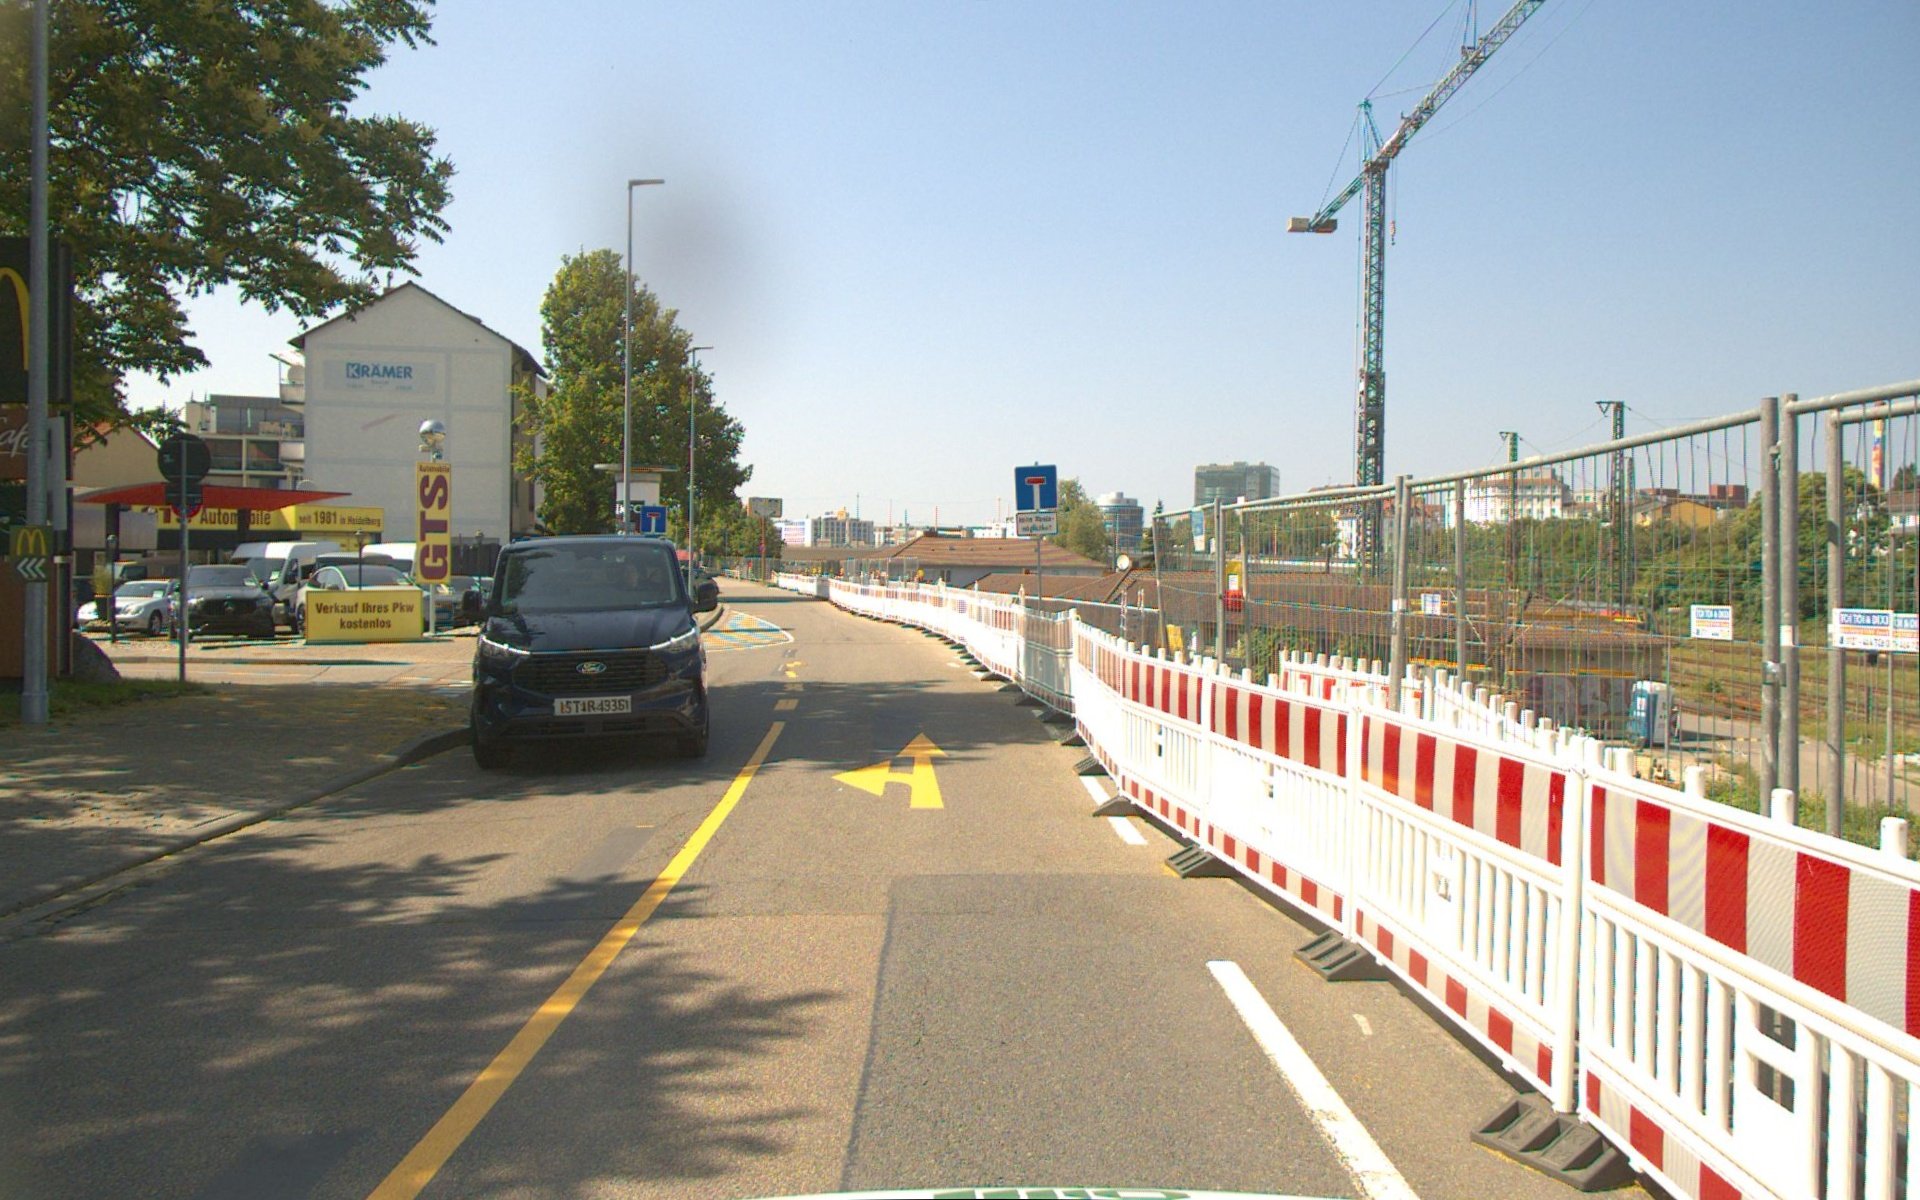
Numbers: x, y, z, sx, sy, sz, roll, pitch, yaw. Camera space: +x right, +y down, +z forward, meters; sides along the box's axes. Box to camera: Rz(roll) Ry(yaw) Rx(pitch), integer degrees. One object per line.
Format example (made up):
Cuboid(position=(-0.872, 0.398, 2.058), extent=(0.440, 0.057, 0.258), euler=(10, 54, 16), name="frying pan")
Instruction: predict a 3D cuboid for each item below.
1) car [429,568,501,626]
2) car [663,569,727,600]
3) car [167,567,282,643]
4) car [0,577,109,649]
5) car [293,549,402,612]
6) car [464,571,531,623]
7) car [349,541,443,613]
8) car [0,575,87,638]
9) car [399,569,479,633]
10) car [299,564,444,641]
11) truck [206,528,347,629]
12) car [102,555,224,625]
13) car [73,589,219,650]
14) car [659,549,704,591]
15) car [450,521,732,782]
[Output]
Cuboid(position=(-14.982, -0.116, 49.944), extent=(1.830, 1.657, 3.976), euler=(1, 1, -21), name="car")
Cuboid(position=(-14.952, -0.861, 93.426), extent=(1.696, 1.666, 3.260), euler=(1, 0, 42), name="car")
Cuboid(position=(-16.742, 0.100, 37.545), extent=(2.024, 1.622, 4.381), euler=(1, 0, -29), name="car")
Cuboid(position=(-21.194, 0.271, 37.847), extent=(1.754, 1.536, 3.994), euler=(1, 0, -7), name="car")
Cuboid(position=(-18.550, -0.598, 50.304), extent=(1.841, 1.768, 4.717), euler=(2, 0, -5), name="car")
Cuboid(position=(-15.554, -0.125, 55.511), extent=(1.830, 1.657, 3.976), euler=(1, 1, -21), name="car")
Cuboid(position=(-19.138, -0.777, 56.312), extent=(2.095, 2.324, 4.703), euler=(1, 1, -8), name="car")
Cuboid(position=(-25.391, 0.149, 43.104), extent=(4.302, 1.613, 1.968), euler=(1, 0, -44), name="car")
Cuboid(position=(-14.069, -0.001, 44.542), extent=(1.830, 1.657, 3.976), euler=(1, 1, -21), name="car")
Cuboid(position=(-14.084, 0.045, 39.481), extent=(1.982, 1.756, 3.942), euler=(1, 0, -40), name="car")
Cuboid(position=(-21.590, -0.659, 52.559), extent=(2.224, 2.954, 5.939), euler=(2, 0, -3), name="truck")
Cuboid(position=(-24.773, -0.290, 51.612), extent=(1.955, 2.049, 4.490), euler=(1, 0, -6), name="car")
Cuboid(position=(-21.362, 0.489, 43.576), extent=(1.751, 1.513, 4.001), euler=(1, 0, 2), name="car")
Cuboid(position=(-17.993, -1.920, 107.119), extent=(2.489, 2.564, 5.111), euler=(1, 0, -6), name="car")
Cuboid(position=(-3.404, 0.336, 15.924), extent=(2.137, 2.002, 5.432), euler=(-2, 2, -10), name="car")
